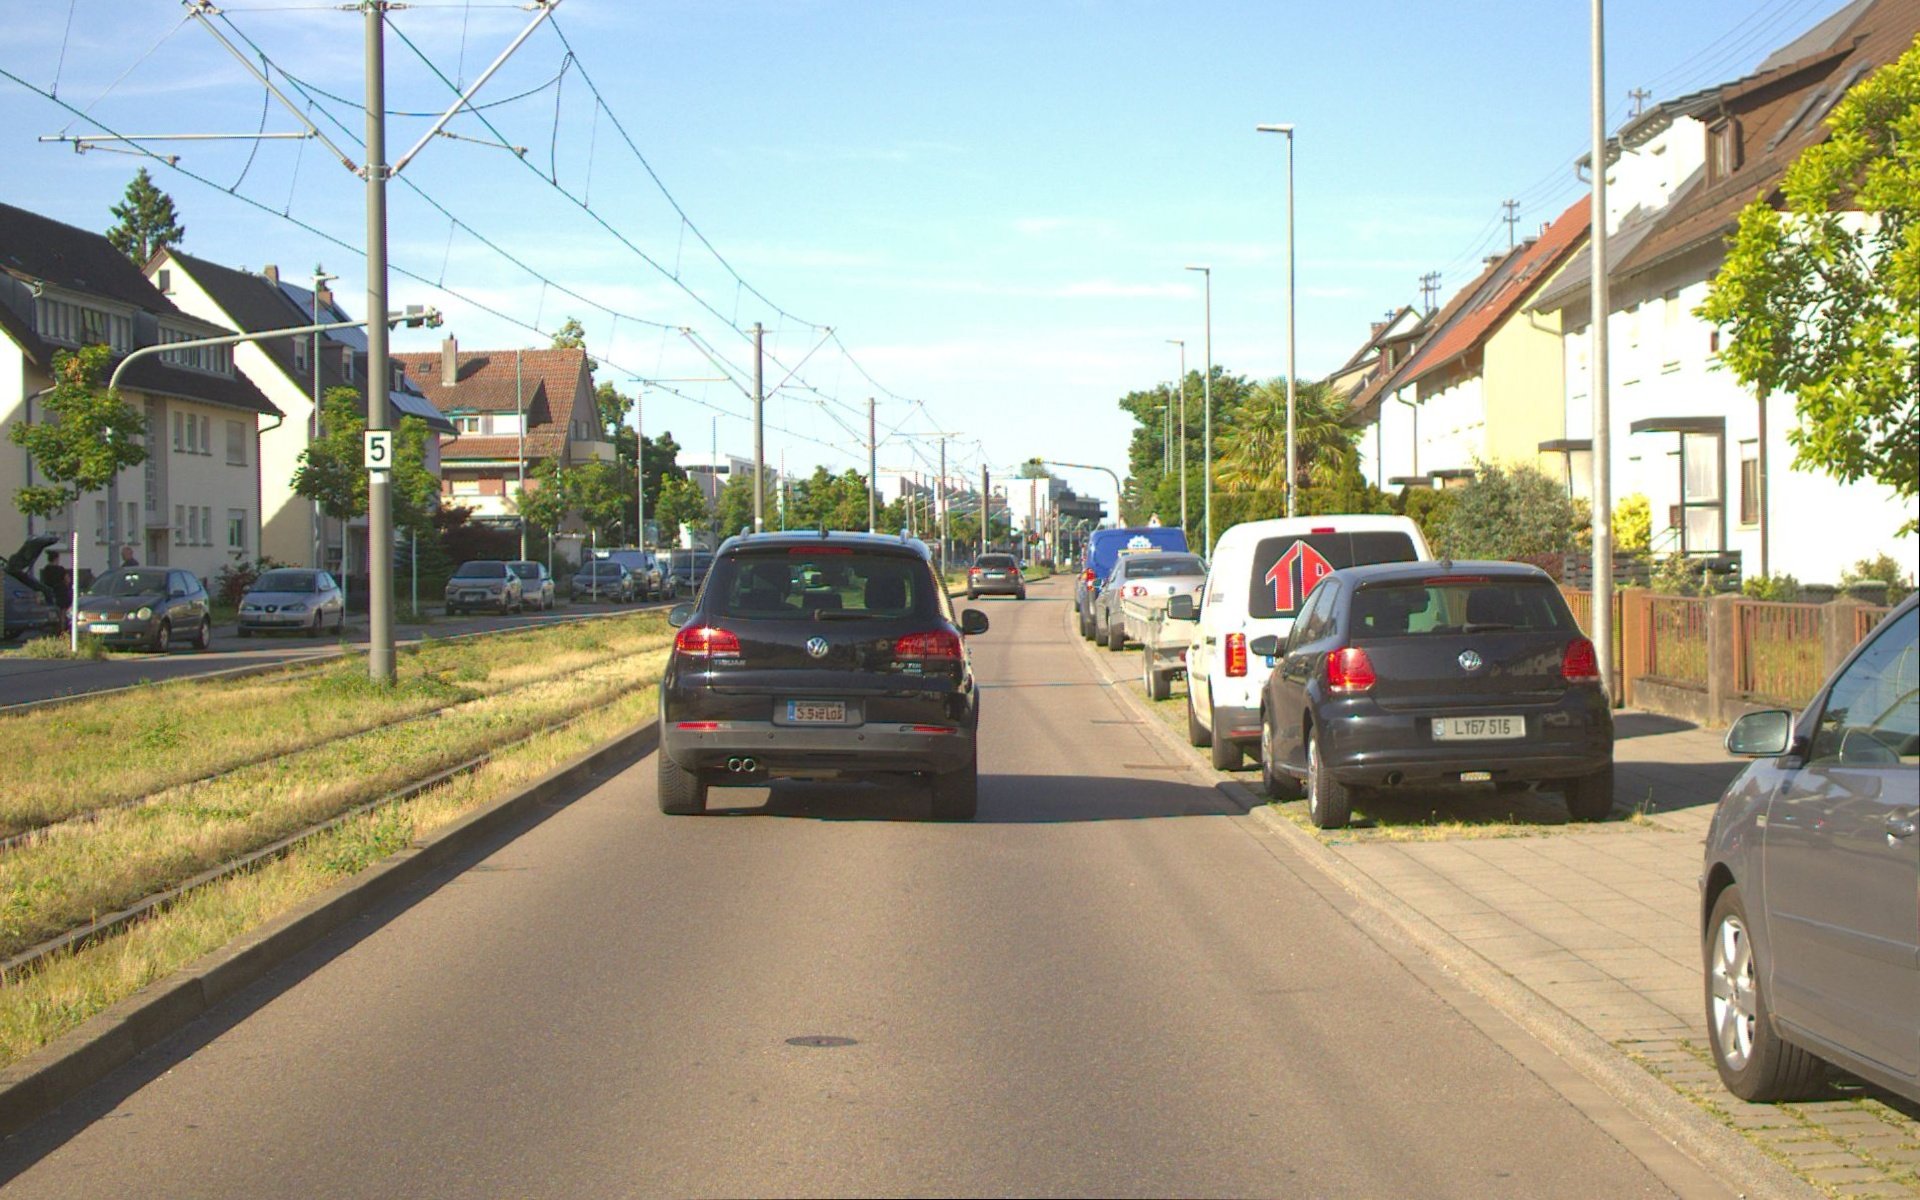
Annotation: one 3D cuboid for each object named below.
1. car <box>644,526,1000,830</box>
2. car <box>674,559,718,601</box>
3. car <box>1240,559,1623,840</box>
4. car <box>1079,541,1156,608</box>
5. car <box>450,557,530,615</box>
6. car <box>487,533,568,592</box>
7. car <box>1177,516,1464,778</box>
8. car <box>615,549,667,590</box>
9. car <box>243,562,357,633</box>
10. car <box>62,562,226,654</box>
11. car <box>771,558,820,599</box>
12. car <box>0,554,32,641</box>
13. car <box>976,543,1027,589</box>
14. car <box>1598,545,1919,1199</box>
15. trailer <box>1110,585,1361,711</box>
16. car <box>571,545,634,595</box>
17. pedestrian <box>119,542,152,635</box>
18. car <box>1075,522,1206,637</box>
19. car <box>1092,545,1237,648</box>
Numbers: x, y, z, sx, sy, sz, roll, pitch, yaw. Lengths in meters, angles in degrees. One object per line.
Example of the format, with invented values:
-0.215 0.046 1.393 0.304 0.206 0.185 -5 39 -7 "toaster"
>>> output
-0.949 0.413 21.100 1.811 1.665 4.259 1 1 -7 "car"
-10.744 -0.817 140.085 1.465 1.671 3.287 -1 0 0 "car"
2.684 0.505 20.388 1.671 1.448 4.126 -2 1 0 "car"
3.710 -0.626 81.579 1.645 1.529 3.864 -1 1 0 "car"
-12.964 -0.407 94.961 1.659 1.491 3.579 -2 1 1 "car"
-12.709 -1.119 101.108 1.803 1.626 4.000 -1 1 1 "car"
2.641 0.275 26.093 1.690 1.770 4.656 -1 1 1 "car"
-11.403 -1.101 123.074 1.515 1.357 3.590 -2 1 -1 "car"
-13.758 -0.029 71.823 1.618 1.404 3.717 -1 -1 1 "car"
-13.976 0.114 59.084 1.619 1.448 3.717 -1 1 5 "car"
-7.096 -0.912 148.485 1.873 1.649 4.000 -1 -1 0 "car"
-18.992 -0.016 62.408 3.901 1.563 1.735 -1 1 -6 "car"
1.330 -1.101 110.456 1.572 1.386 3.614 -1 1 0 "car"
2.839 0.600 8.275 1.615 1.470 4.450 -1 1 -2 "car"
2.827 0.464 36.287 2.204 1.090 4.372 -3 1 -1 "trailer"
-12.185 -1.005 117.315 1.660 1.575 4.000 -1 -1 1 "car"
-15.689 -0.223 65.407 0.468 1.740 0.536 -1 1 0 "pedestrian"
3.075 -0.387 59.460 1.993 1.855 4.917 -1 1 0 "car"
3.110 -0.085 53.090 1.786 1.436 4.460 -3 1 -2 "car"
